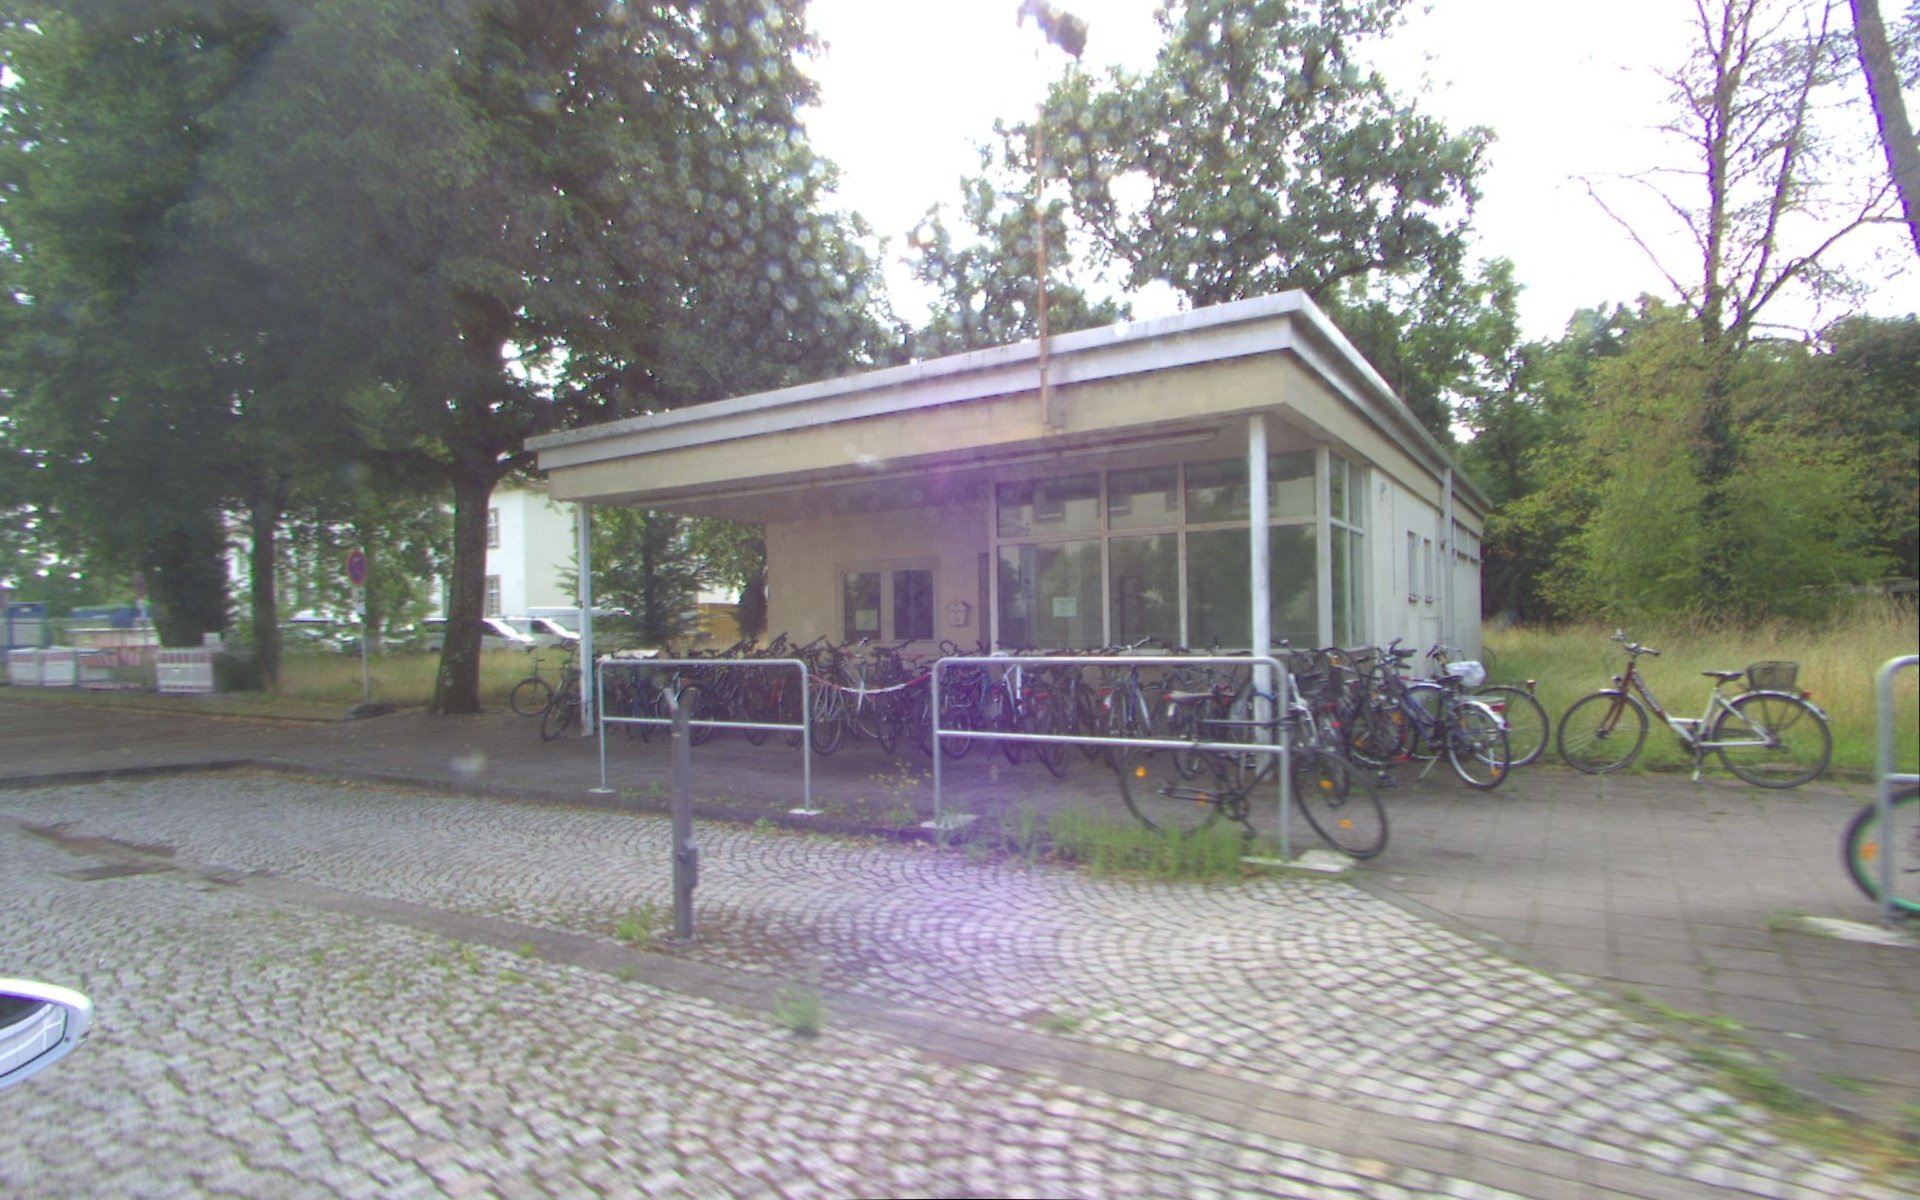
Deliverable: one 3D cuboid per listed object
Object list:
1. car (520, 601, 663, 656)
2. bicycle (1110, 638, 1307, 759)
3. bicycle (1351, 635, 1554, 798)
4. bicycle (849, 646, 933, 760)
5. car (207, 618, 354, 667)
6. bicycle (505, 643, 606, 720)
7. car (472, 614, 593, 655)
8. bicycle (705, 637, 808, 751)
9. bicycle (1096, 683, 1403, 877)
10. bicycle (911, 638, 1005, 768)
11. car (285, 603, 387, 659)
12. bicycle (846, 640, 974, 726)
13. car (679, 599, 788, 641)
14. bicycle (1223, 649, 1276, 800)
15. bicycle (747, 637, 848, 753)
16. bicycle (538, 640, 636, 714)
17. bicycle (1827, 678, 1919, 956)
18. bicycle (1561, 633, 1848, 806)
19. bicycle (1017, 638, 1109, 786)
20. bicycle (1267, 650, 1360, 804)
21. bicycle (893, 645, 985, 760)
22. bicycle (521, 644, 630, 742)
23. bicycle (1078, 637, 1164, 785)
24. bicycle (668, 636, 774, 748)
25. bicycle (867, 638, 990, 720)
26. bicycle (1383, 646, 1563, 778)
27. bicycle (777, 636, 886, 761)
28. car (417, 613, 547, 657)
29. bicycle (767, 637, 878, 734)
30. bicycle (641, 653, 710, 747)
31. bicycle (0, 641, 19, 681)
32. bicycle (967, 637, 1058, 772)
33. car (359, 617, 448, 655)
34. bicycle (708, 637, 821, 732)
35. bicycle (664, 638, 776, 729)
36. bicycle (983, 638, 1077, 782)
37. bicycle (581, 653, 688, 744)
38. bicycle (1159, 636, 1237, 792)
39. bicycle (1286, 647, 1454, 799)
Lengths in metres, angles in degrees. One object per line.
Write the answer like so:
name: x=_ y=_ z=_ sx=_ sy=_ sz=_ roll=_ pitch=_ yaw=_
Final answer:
car: x=-18.100 y=1.425 z=49.335 sx=6.297 sy=2.610 sz=2.001 roll=-1 pitch=-2 yaw=2
bicycle: x=2.432 y=0.939 z=9.888 sx=1.805 sy=1.090 sz=0.489 roll=-1 pitch=1 yaw=31
bicycle: x=3.861 y=0.859 z=8.014 sx=0.465 sy=1.146 sz=1.739 roll=-1 pitch=-1 yaw=-12
bicycle: x=-0.724 y=1.083 z=10.940 sx=0.328 sy=1.064 sz=1.632 roll=-1 pitch=0 yaw=17
car: x=-28.669 y=1.737 z=42.412 sx=1.879 sy=1.946 sz=4.849 roll=0 pitch=-1 yaw=32
bicycle: x=-6.384 y=1.263 z=15.767 sx=1.611 sy=1.132 sz=0.596 roll=-1 pitch=1 yaw=31
car: x=-19.853 y=1.620 z=46.587 sx=4.780 sy=1.848 sz=2.001 roll=-1 pitch=-2 yaw=5
bicycle: x=-2.416 y=1.092 z=12.071 sx=0.412 sy=1.206 sz=1.631 roll=-1 pitch=1 yaw=19
bicycle: x=1.668 y=0.995 z=5.882 sx=1.632 sy=0.965 sz=0.533 roll=-2 pitch=-1 yaw=32
bicycle: x=0.013 y=1.008 z=10.296 sx=0.320 sy=1.156 sz=1.591 roll=-1 pitch=1 yaw=24
car: x=-30.148 y=1.556 z=48.346 sx=5.829 sy=2.588 sz=1.989 roll=-2 pitch=-3 yaw=34
bicycle: x=-0.686 y=1.111 z=13.552 sx=1.652 sy=1.090 sz=0.479 roll=-1 pitch=1 yaw=21
car: x=-12.321 y=1.153 z=55.027 sx=2.181 sy=2.121 sz=6.132 roll=-2 pitch=-3 yaw=32
bicycle: x=2.281 y=0.944 z=7.949 sx=0.281 sy=1.076 sz=1.153 roll=-1 pitch=-1 yaw=11
bicycle: x=-1.878 y=1.074 z=11.795 sx=0.412 sy=1.206 sz=1.631 roll=-1 pitch=1 yaw=19
bicycle: x=-6.084 y=1.239 z=16.319 sx=1.611 sy=1.132 sz=0.596 roll=-1 pitch=1 yaw=31
bicycle: x=4.551 y=0.882 z=3.992 sx=1.543 sy=1.076 sz=0.689 roll=-2 pitch=-1 yaw=32
bicycle: x=5.534 y=0.836 z=7.535 sx=1.660 sy=1.153 sz=0.644 roll=-2 pitch=-1 yaw=38
bicycle: x=0.969 y=0.962 z=9.120 sx=0.320 sy=1.156 sz=1.612 roll=-1 pitch=1 yaw=24
bicycle: x=2.729 y=0.939 z=7.830 sx=0.332 sy=1.059 sz=1.406 roll=-1 pitch=-1 yaw=5
bicycle: x=-0.196 y=1.056 z=10.736 sx=0.320 sy=1.064 sz=1.591 roll=-1 pitch=1 yaw=24
bicycle: x=-5.024 y=1.189 z=13.189 sx=0.332 sy=1.123 sz=1.678 roll=-1 pitch=1 yaw=18
bicycle: x=1.504 y=0.959 z=9.170 sx=0.350 sy=1.156 sz=1.612 roll=-1 pitch=1 yaw=24
bicycle: x=-2.902 y=1.089 z=12.320 sx=0.465 sy=1.206 sz=1.632 roll=-1 pitch=1 yaw=18
bicycle: x=-0.449 y=1.099 z=14.074 sx=1.652 sy=1.090 sz=0.479 roll=-1 pitch=1 yaw=21
bicycle: x=4.390 y=0.927 z=8.653 sx=0.400 sy=1.023 sz=1.347 roll=-1 pitch=-1 yaw=-35
bicycle: x=-1.385 y=1.036 z=11.080 sx=0.490 sy=1.206 sz=1.631 roll=-1 pitch=1 yaw=19
car: x=-20.966 y=1.567 z=44.022 sx=4.780 sy=1.848 sz=2.001 roll=-1 pitch=-2 yaw=5
bicycle: x=-1.866 y=1.138 z=13.861 sx=0.599 sy=1.180 sz=1.739 roll=-1 pitch=1 yaw=27
bicycle: x=-3.514 y=1.210 z=12.477 sx=0.316 sy=0.989 sz=1.635 roll=-1 pitch=0 yaw=2
bicycle: x=-30.148 y=1.900 z=31.313 sx=1.879 sy=1.184 sz=0.640 roll=-1 pitch=0 yaw=34
bicycle: x=0.555 y=0.986 z=9.915 sx=0.320 sy=1.156 sz=1.612 roll=-1 pitch=1 yaw=24
car: x=-28.095 y=1.851 z=50.506 sx=4.808 sy=1.848 sz=1.989 roll=-2 pitch=-3 yaw=34
bicycle: x=-2.728 y=1.161 z=14.186 sx=0.599 sy=1.180 sz=1.739 roll=-1 pitch=1 yaw=27
bicycle: x=-3.518 y=1.198 z=14.837 sx=0.599 sy=1.180 sz=1.739 roll=-1 pitch=1 yaw=27
bicycle: x=0.682 y=0.976 z=9.365 sx=0.320 sy=1.156 sz=1.612 roll=-1 pitch=1 yaw=24
bicycle: x=-4.157 y=1.233 z=12.948 sx=0.744 sy=0.989 sz=1.746 roll=-2 pitch=0 yaw=2
bicycle: x=2.099 y=0.935 z=8.734 sx=0.350 sy=1.156 sz=1.612 roll=-1 pitch=1 yaw=24
bicycle: x=3.254 y=0.930 z=8.121 sx=0.446 sy=1.059 sz=1.750 roll=-1 pitch=-1 yaw=-7
